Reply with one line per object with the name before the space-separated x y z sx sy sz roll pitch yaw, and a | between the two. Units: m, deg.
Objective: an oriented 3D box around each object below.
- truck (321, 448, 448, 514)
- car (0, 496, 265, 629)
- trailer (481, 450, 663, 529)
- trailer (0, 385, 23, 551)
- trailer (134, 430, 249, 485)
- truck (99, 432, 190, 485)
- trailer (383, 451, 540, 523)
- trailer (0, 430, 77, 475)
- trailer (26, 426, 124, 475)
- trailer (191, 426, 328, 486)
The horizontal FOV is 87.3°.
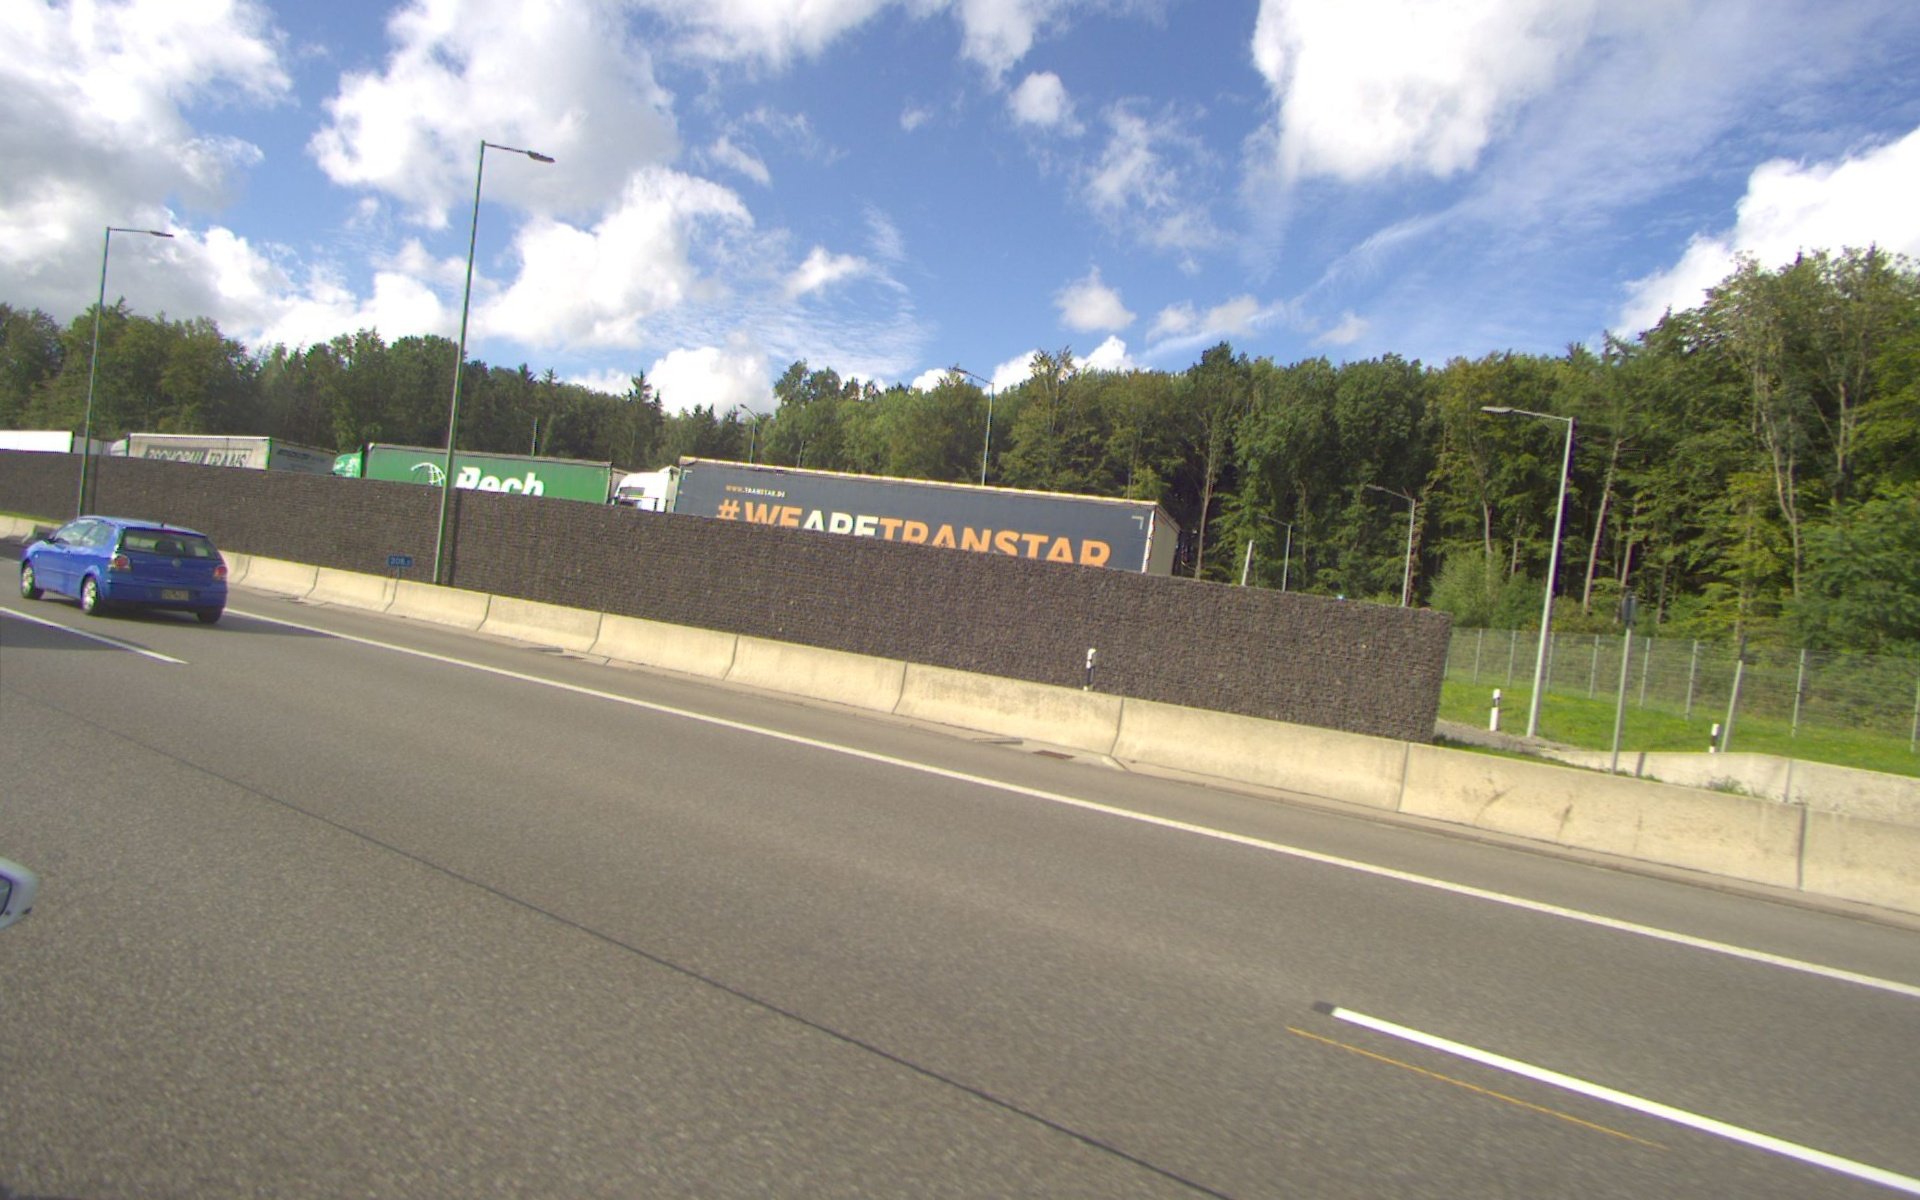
truck | -21.726 -4.453 37.921 4.704 2.037 2.049 4 -3 33
car | -12.922 -0.593 15.590 4.228 1.530 1.718 7 0 29
trailer | -12.494 -3.534 32.231 6.091 2.037 1.997 5 -3 31
trailer | -30.410 -3.864 27.612 13.662 4.081 3.044 4 -2 32
trailer | -35.285 -6.489 46.139 5.907 2.037 2.049 5 -3 32
truck | -39.487 -6.817 48.707 4.029 2.037 2.049 5 -3 31
trailer | -17.486 -3.949 35.221 5.680 2.037 1.998 5 -3 31
trailer | -53.037 -8.446 57.434 6.131 2.038 2.133 7 0 32
trailer | -47.646 -8.062 54.128 6.216 2.038 2.133 7 0 32
trailer | -29.855 -6.065 42.799 6.850 2.037 2.054 4 -3 32
